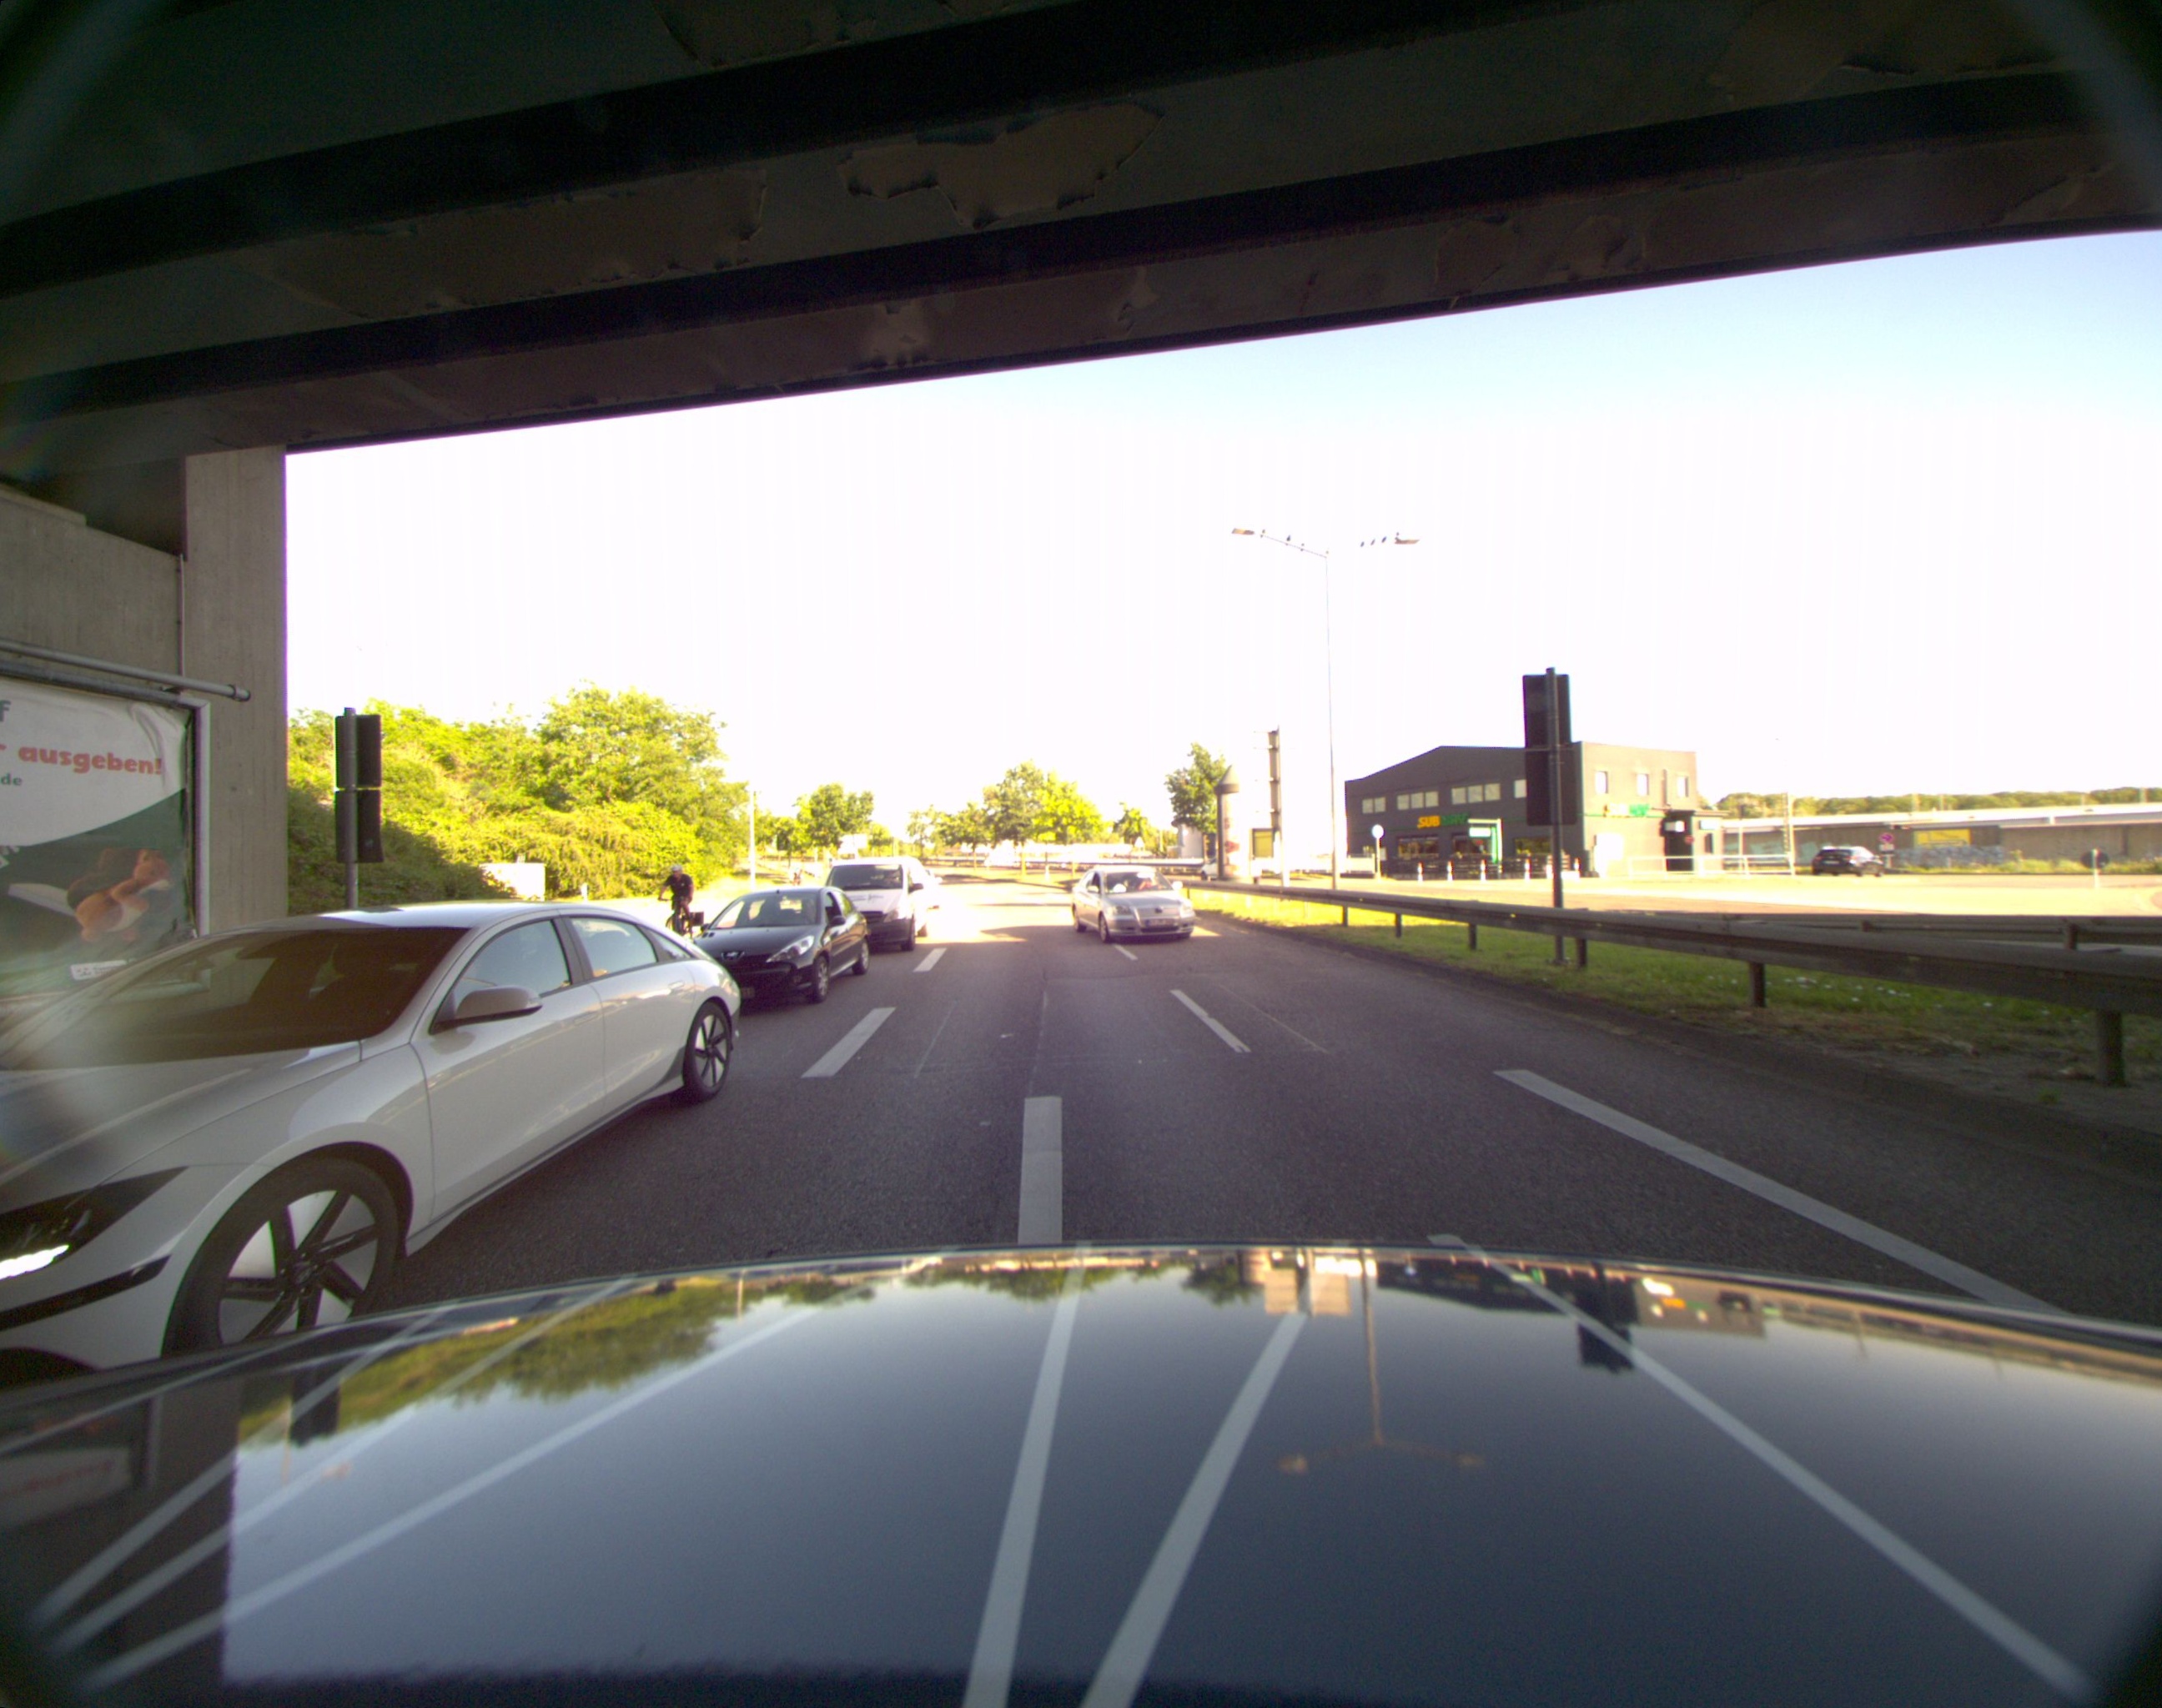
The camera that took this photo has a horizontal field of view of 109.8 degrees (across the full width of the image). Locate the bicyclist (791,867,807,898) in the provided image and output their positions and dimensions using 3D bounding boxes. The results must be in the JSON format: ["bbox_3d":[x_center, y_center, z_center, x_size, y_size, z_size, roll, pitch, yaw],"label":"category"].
[{"bbox_3d":[-14.008,1.404,37.689,0.656,1.524,0.845,1,-1,-24],"label":"bicyclist"}]

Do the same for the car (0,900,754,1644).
[{"bbox_3d":[-3.433,1.116,3.709,1.750,1.447,4.663,-2,0,-2],"label":"car"}]

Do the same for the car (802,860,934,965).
[{"bbox_3d":[-4.354,1.104,16.305,1.903,1.825,4.833,-2,-1,-7],"label":"car"}]

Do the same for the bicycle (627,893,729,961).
[{"bbox_3d":[-8.380,1.478,15.953,0.767,1.139,2.469,-2,0,0],"label":"bicycle"}]

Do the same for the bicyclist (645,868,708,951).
[{"bbox_3d":[-8.393,1.130,15.800,0.748,1.646,0.886,-2,1,0],"label":"bicyclist"}]

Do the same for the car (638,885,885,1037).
[{"bbox_3d":[-3.956,1.235,10.126,1.750,1.447,3.716,-2,0,-2],"label":"car"}]

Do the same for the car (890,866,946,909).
[{"bbox_3d":[-6.597,1.310,31.192,2.000,1.542,4.417,-2,0,-9],"label":"car"}]

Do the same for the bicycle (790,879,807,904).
[{"bbox_3d":[-14.020,1.834,37.670,0.654,1.160,1.775,2,-1,-24],"label":"bicycle"}]

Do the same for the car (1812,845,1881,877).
[{"bbox_3d":[38.540,0.337,38.245,4.007,1.434,1.878,-3,1,-37],"label":"car"}]

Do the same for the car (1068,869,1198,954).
[{"bbox_3d":[0.925,1.090,16.125,1.702,1.446,4.394,-2,0,-10],"label":"car"}]

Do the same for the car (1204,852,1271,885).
[{"bbox_3d":[8.212,0.743,40.311,1.807,1.597,4.290,-1,0,-14],"label":"car"}]
